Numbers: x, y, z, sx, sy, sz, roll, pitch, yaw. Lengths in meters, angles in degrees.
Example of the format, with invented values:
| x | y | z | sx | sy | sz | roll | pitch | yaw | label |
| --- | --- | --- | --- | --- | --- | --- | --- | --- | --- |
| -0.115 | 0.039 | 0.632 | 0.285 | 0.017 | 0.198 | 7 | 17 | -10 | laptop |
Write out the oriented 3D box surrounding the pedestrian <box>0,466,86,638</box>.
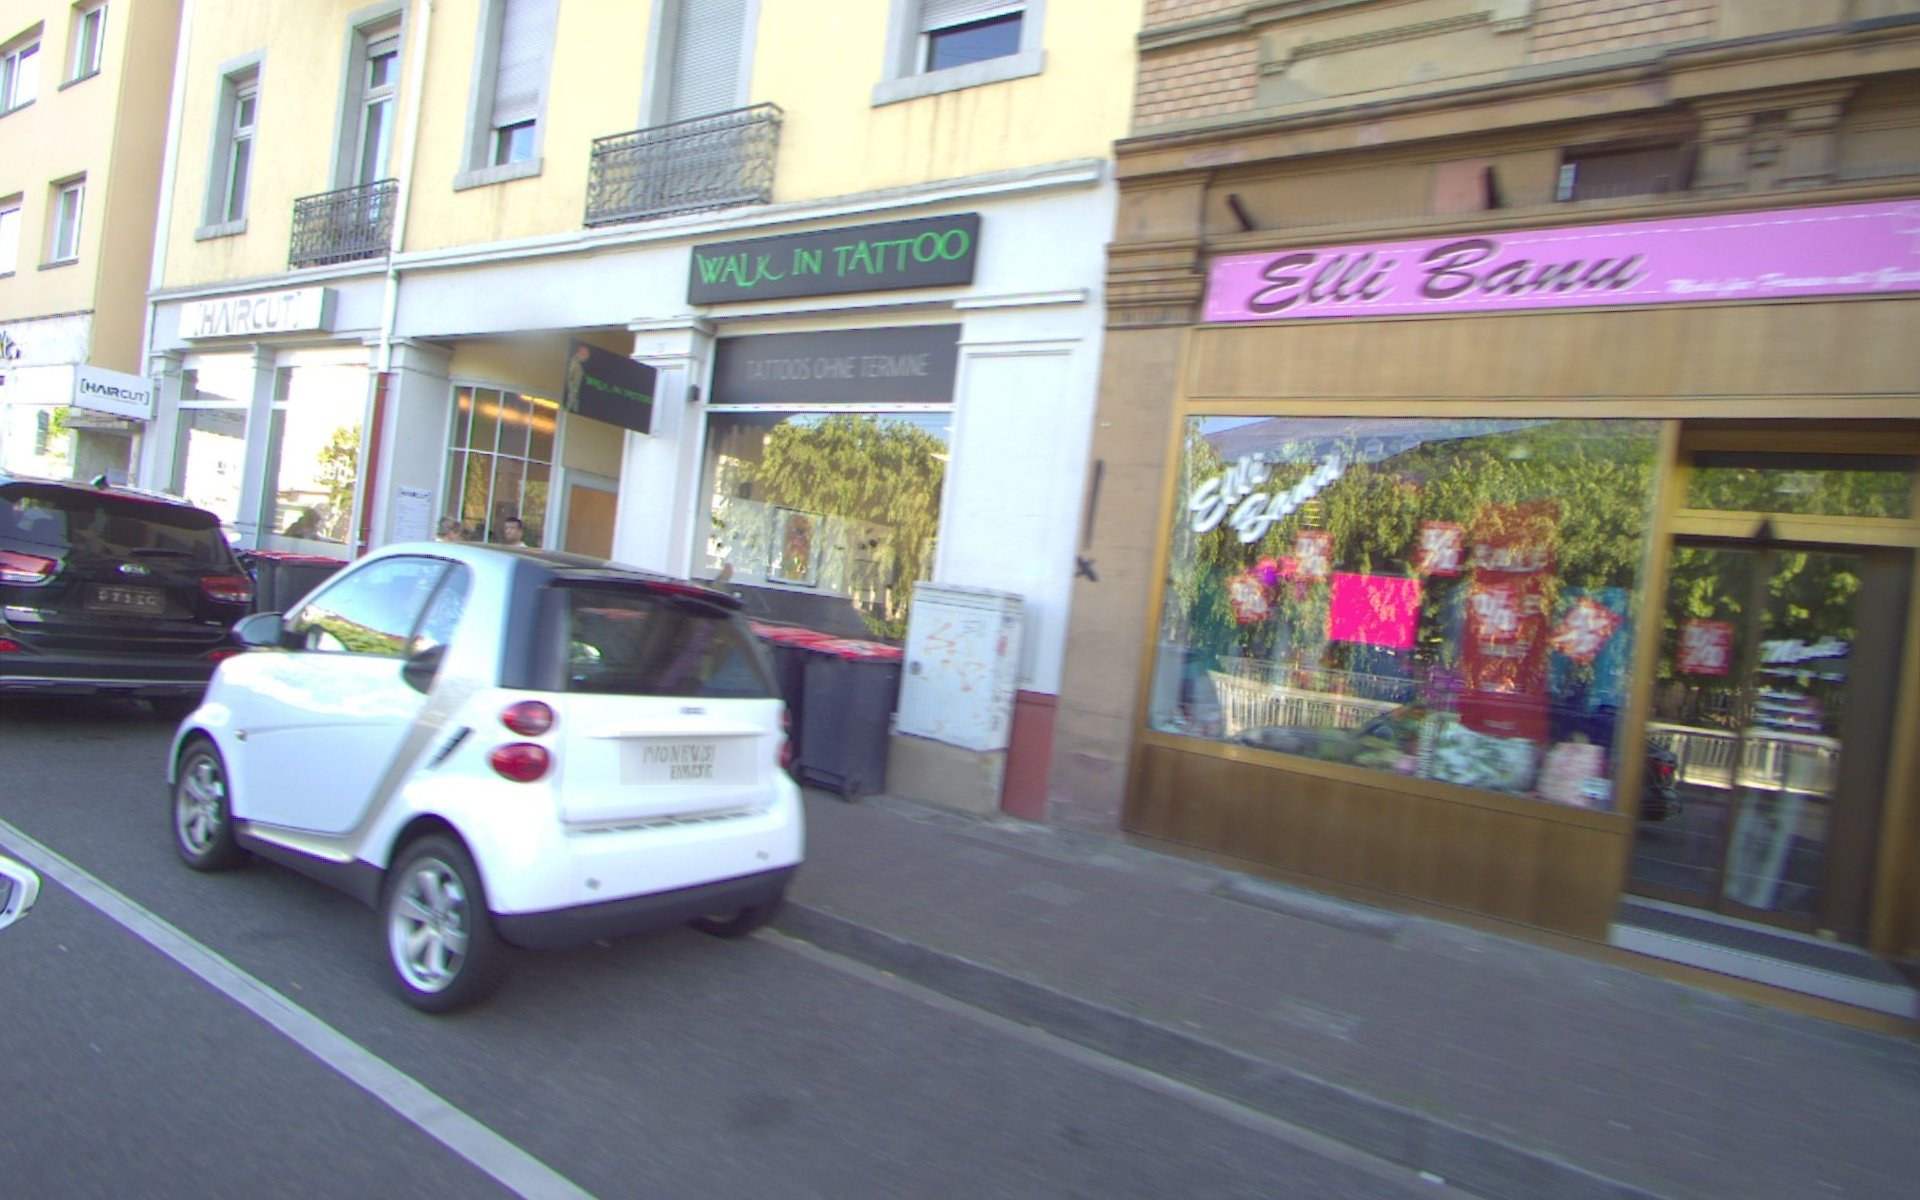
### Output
| x | y | z | sx | sy | sz | roll | pitch | yaw | label |
| --- | --- | --- | --- | --- | --- | --- | --- | --- | --- |
| -10.091 | -0.509 | 10.981 | 0.473 | 1.783 | 0.435 | 7 | -1 | -4 | pedestrian |

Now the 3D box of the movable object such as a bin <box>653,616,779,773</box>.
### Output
| x | y | z | sx | sy | sz | roll | pitch | yaw | label |
| --- | --- | --- | --- | --- | --- | --- | --- | --- | --- |
| -1.872 | 0.703 | 7.729 | 0.609 | 1.080 | 0.605 | 7 | 3 | 32 | movable object such as a bin |

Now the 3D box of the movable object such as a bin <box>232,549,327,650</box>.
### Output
| x | y | z | sx | sy | sz | roll | pitch | yaw | label |
| --- | --- | --- | --- | --- | --- | --- | --- | --- | --- |
| -7.704 | 0.002 | 11.390 | 0.610 | 1.055 | 0.659 | 7 | 3 | 35 | movable object such as a bin |

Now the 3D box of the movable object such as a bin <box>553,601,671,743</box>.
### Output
| x | y | z | sx | sy | sz | roll | pitch | yaw | label |
| --- | --- | --- | --- | --- | --- | --- | --- | --- | --- |
| -2.903 | 0.587 | 8.411 | 0.609 | 1.080 | 0.605 | 7 | 3 | 32 | movable object such as a bin |

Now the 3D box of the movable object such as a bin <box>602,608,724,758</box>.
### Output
| x | y | z | sx | sy | sz | roll | pitch | yaw | label |
| --- | --- | --- | --- | --- | --- | --- | --- | --- | --- |
| -2.377 | 0.646 | 8.057 | 0.609 | 1.080 | 0.605 | 7 | 3 | 32 | movable object such as a bin |

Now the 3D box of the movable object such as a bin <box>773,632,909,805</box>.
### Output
| x | y | z | sx | sy | sz | roll | pitch | yaw | label |
| --- | --- | --- | --- | --- | --- | --- | --- | --- | --- |
| -0.833 | 0.803 | 7.061 | 0.609 | 1.080 | 0.605 | 7 | 3 | 32 | movable object such as a bin |

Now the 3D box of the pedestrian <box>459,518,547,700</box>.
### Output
| x | y | z | sx | sy | sz | roll | pitch | yaw | label |
| --- | --- | --- | --- | --- | --- | --- | --- | --- | --- |
| -4.421 | 0.085 | 9.743 | 0.514 | 1.681 | 0.338 | 7 | 1 | 3 | pedestrian |

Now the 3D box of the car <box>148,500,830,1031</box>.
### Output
| x | y | z | sx | sy | sz | roll | pitch | yaw | label |
| --- | --- | --- | --- | --- | --- | --- | --- | --- | --- |
| -2.128 | 0.506 | 4.416 | 2.749 | 1.536 | 1.274 | 7 | -1 | 32 | car |

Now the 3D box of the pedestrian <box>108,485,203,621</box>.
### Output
| x | y | z | sx | sy | sz | roll | pitch | yaw | label |
| --- | --- | --- | --- | --- | --- | --- | --- | --- | --- |
| -10.421 | -0.594 | 13.042 | 0.523 | 1.653 | 0.697 | 7 | 1 | 30 | pedestrian |

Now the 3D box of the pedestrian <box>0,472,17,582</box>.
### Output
| x | y | z | sx | sy | sz | roll | pitch | yaw | label |
| --- | --- | --- | --- | --- | --- | --- | --- | --- | --- |
| -14.946 | -1.149 | 15.335 | 0.618 | 1.654 | 0.661 | 7 | 2 | 36 | pedestrian |

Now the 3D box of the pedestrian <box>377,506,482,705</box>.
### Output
| x | y | z | sx | sy | sz | roll | pitch | yaw | label |
| --- | --- | --- | --- | --- | --- | --- | --- | --- | --- |
| -4.698 | 0.049 | 8.909 | 0.583 | 1.681 | 0.450 | 7 | 1 | 33 | pedestrian |

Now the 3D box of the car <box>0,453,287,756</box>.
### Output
| x | y | z | sx | sy | sz | roll | pitch | yaw | label |
| --- | --- | --- | --- | --- | --- | --- | --- | --- | --- |
| -7.248 | -0.151 | 7.433 | 4.493 | 1.757 | 1.759 | 7 | -1 | 28 | car |

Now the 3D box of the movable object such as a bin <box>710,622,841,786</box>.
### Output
| x | y | z | sx | sy | sz | roll | pitch | yaw | label |
| --- | --- | --- | --- | --- | --- | --- | --- | --- | --- |
| -1.350 | 0.739 | 7.391 | 0.609 | 1.080 | 0.605 | 7 | 3 | 32 | movable object such as a bin |

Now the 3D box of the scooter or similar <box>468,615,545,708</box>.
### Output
| x | y | z | sx | sy | sz | roll | pitch | yaw | label |
| --- | --- | --- | --- | --- | --- | --- | --- | --- | --- |
| -4.092 | 0.553 | 9.075 | 0.523 | 0.768 | 0.466 | 5 | 1 | -33 | scooter or similar |

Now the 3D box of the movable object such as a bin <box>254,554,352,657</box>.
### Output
| x | y | z | sx | sy | sz | roll | pitch | yaw | label |
| --- | --- | --- | --- | --- | --- | --- | --- | --- | --- |
| -7.187 | 0.068 | 11.016 | 0.610 | 1.038 | 0.667 | 7 | 3 | 35 | movable object such as a bin |
